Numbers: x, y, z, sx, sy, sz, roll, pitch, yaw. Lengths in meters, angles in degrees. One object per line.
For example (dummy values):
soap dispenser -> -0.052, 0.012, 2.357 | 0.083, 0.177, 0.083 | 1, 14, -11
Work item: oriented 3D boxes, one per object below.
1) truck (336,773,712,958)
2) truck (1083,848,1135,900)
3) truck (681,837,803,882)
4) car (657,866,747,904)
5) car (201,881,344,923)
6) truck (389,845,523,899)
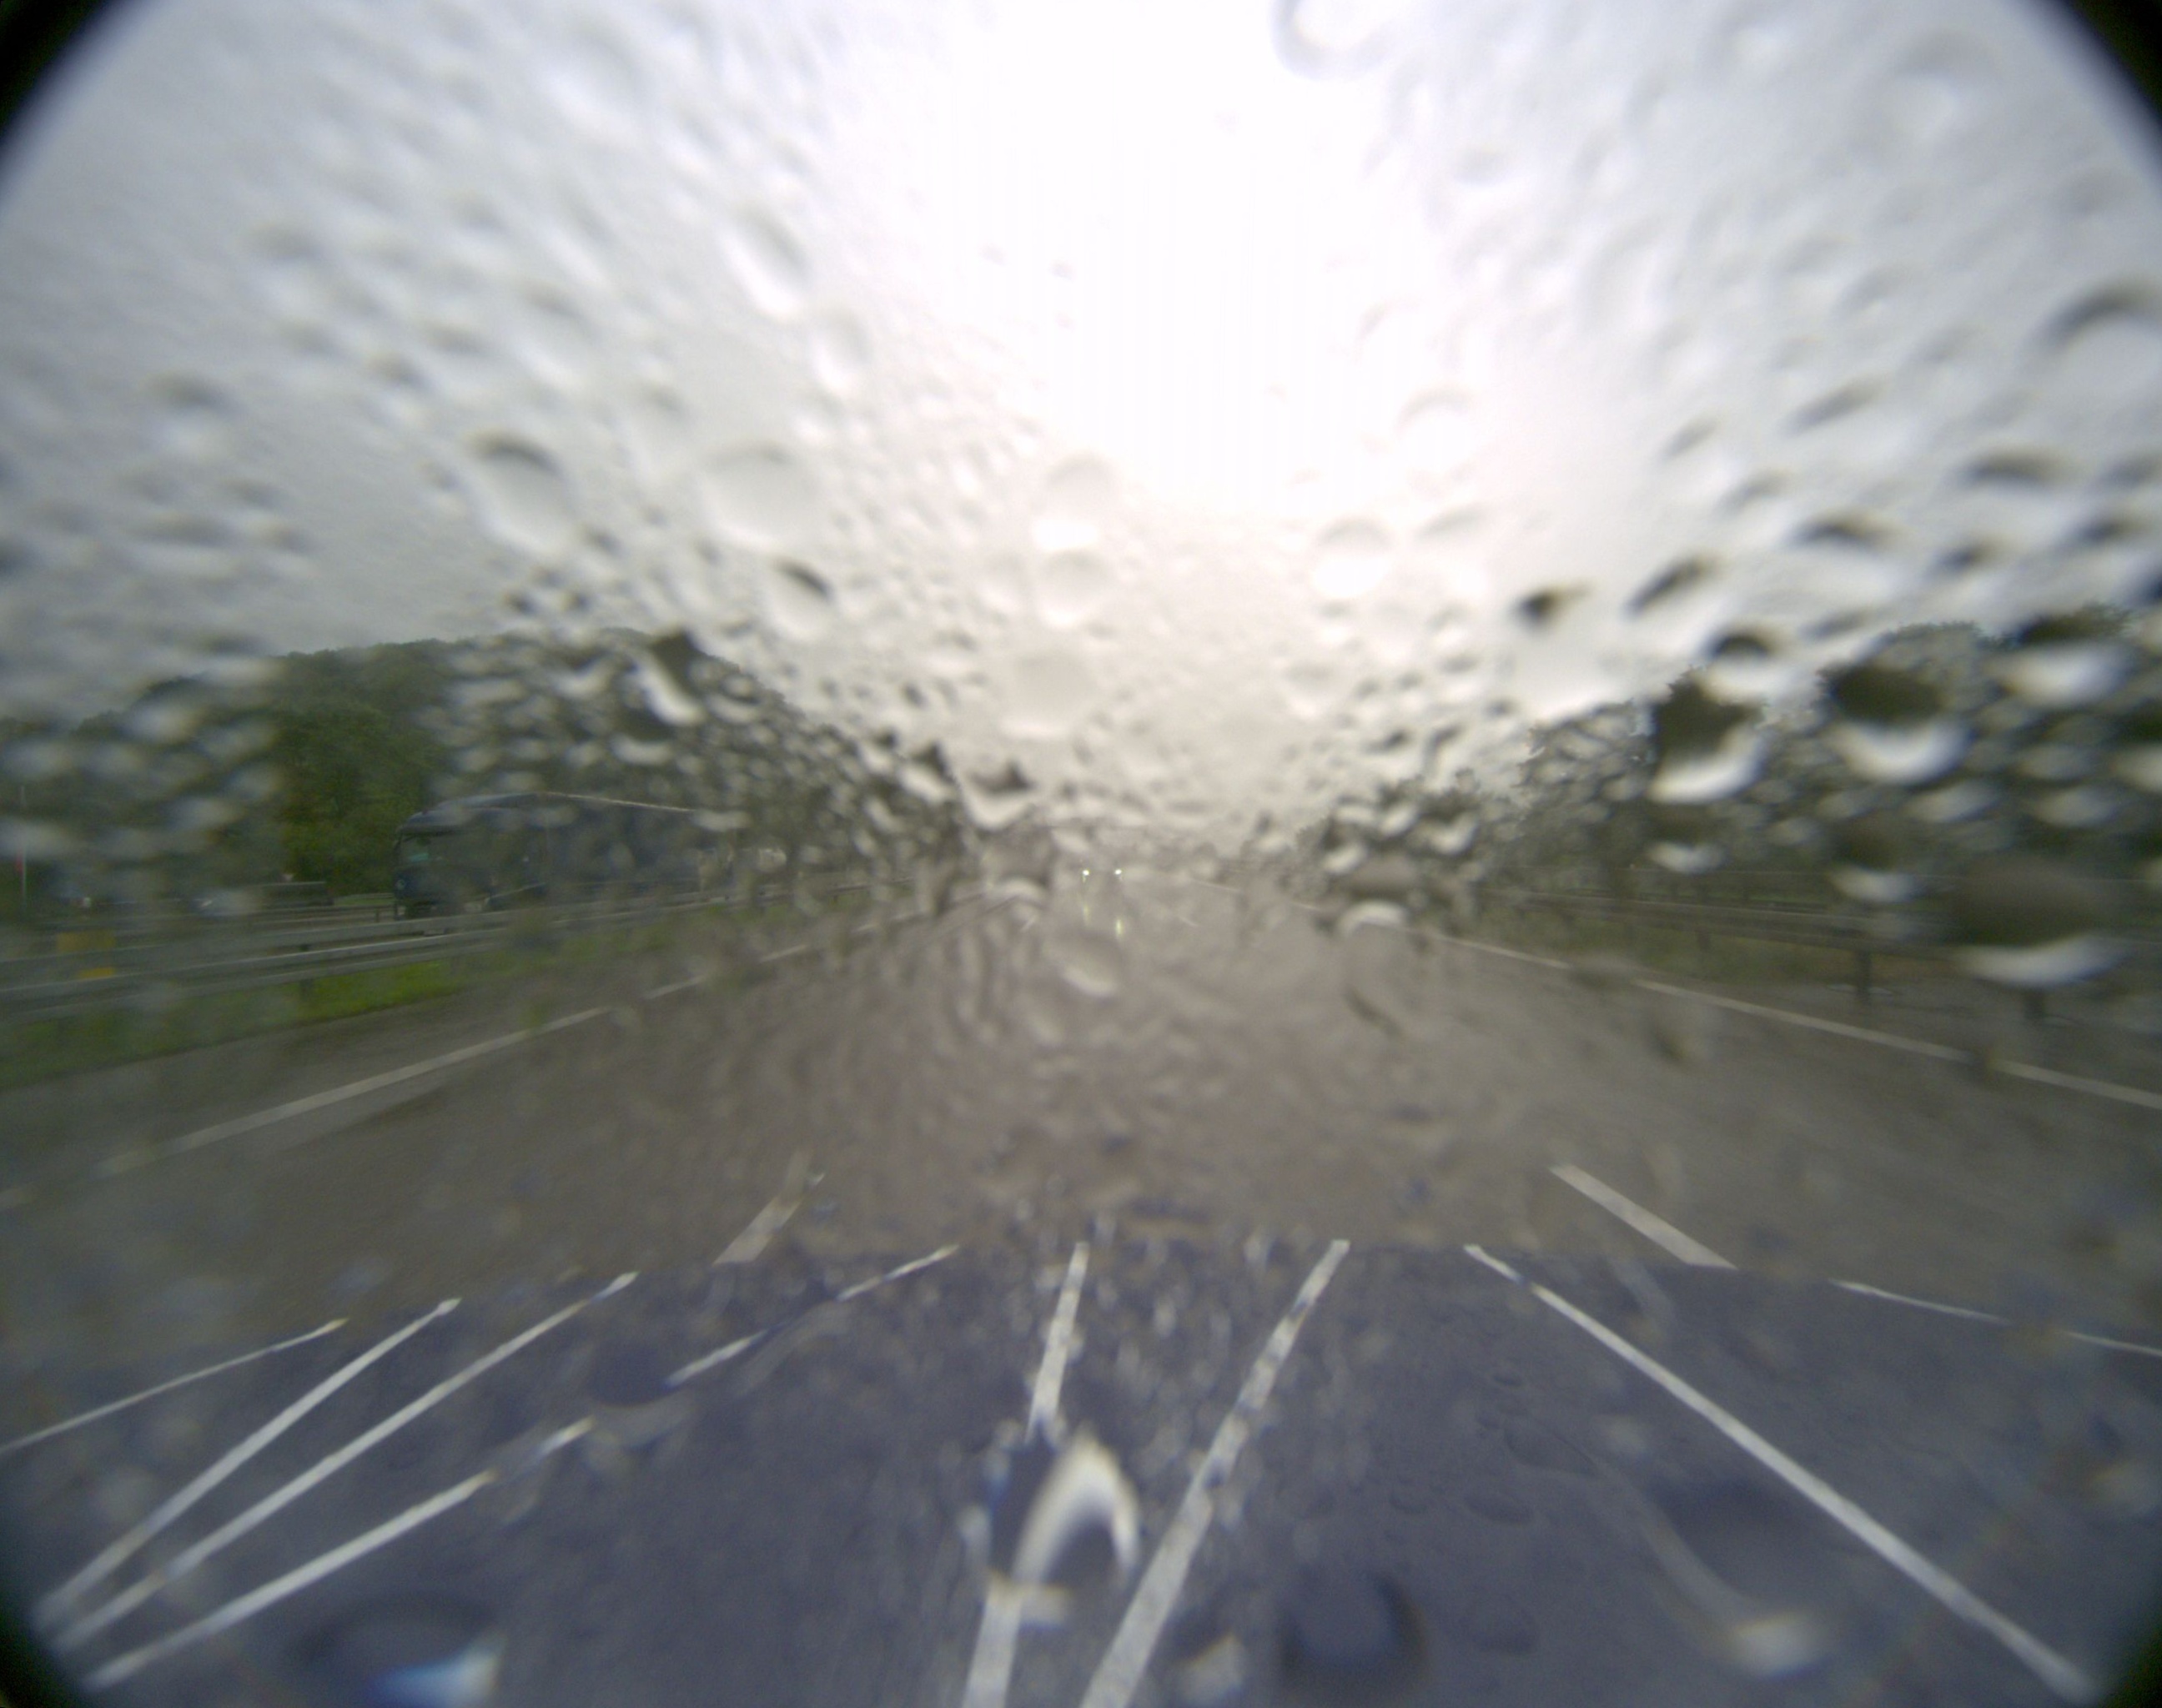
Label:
truck -> -16.360, 0.283, 24.186 | 3.409, 4.376, 11.049 | -3, 0, 1
truck -> 1.152, 0.778, 33.596 | 1.998, 2.002, 7.575 | -1, 0, 1
truck -> -35.199, 0.432, 79.661 | 2.872, 4.232, 11.893 | -2, 1, 33
car -> -20.694, 1.636, 41.780 | 1.998, 1.740, 5.662 | -2, 1, 0
car -> -45.437, 2.634, 42.864 | 1.995, 2.002, 5.062 | -2, 0, 23
truck -> -48.966, 1.346, 59.782 | 2.750, 3.844, 7.548 | -2, 1, 35
